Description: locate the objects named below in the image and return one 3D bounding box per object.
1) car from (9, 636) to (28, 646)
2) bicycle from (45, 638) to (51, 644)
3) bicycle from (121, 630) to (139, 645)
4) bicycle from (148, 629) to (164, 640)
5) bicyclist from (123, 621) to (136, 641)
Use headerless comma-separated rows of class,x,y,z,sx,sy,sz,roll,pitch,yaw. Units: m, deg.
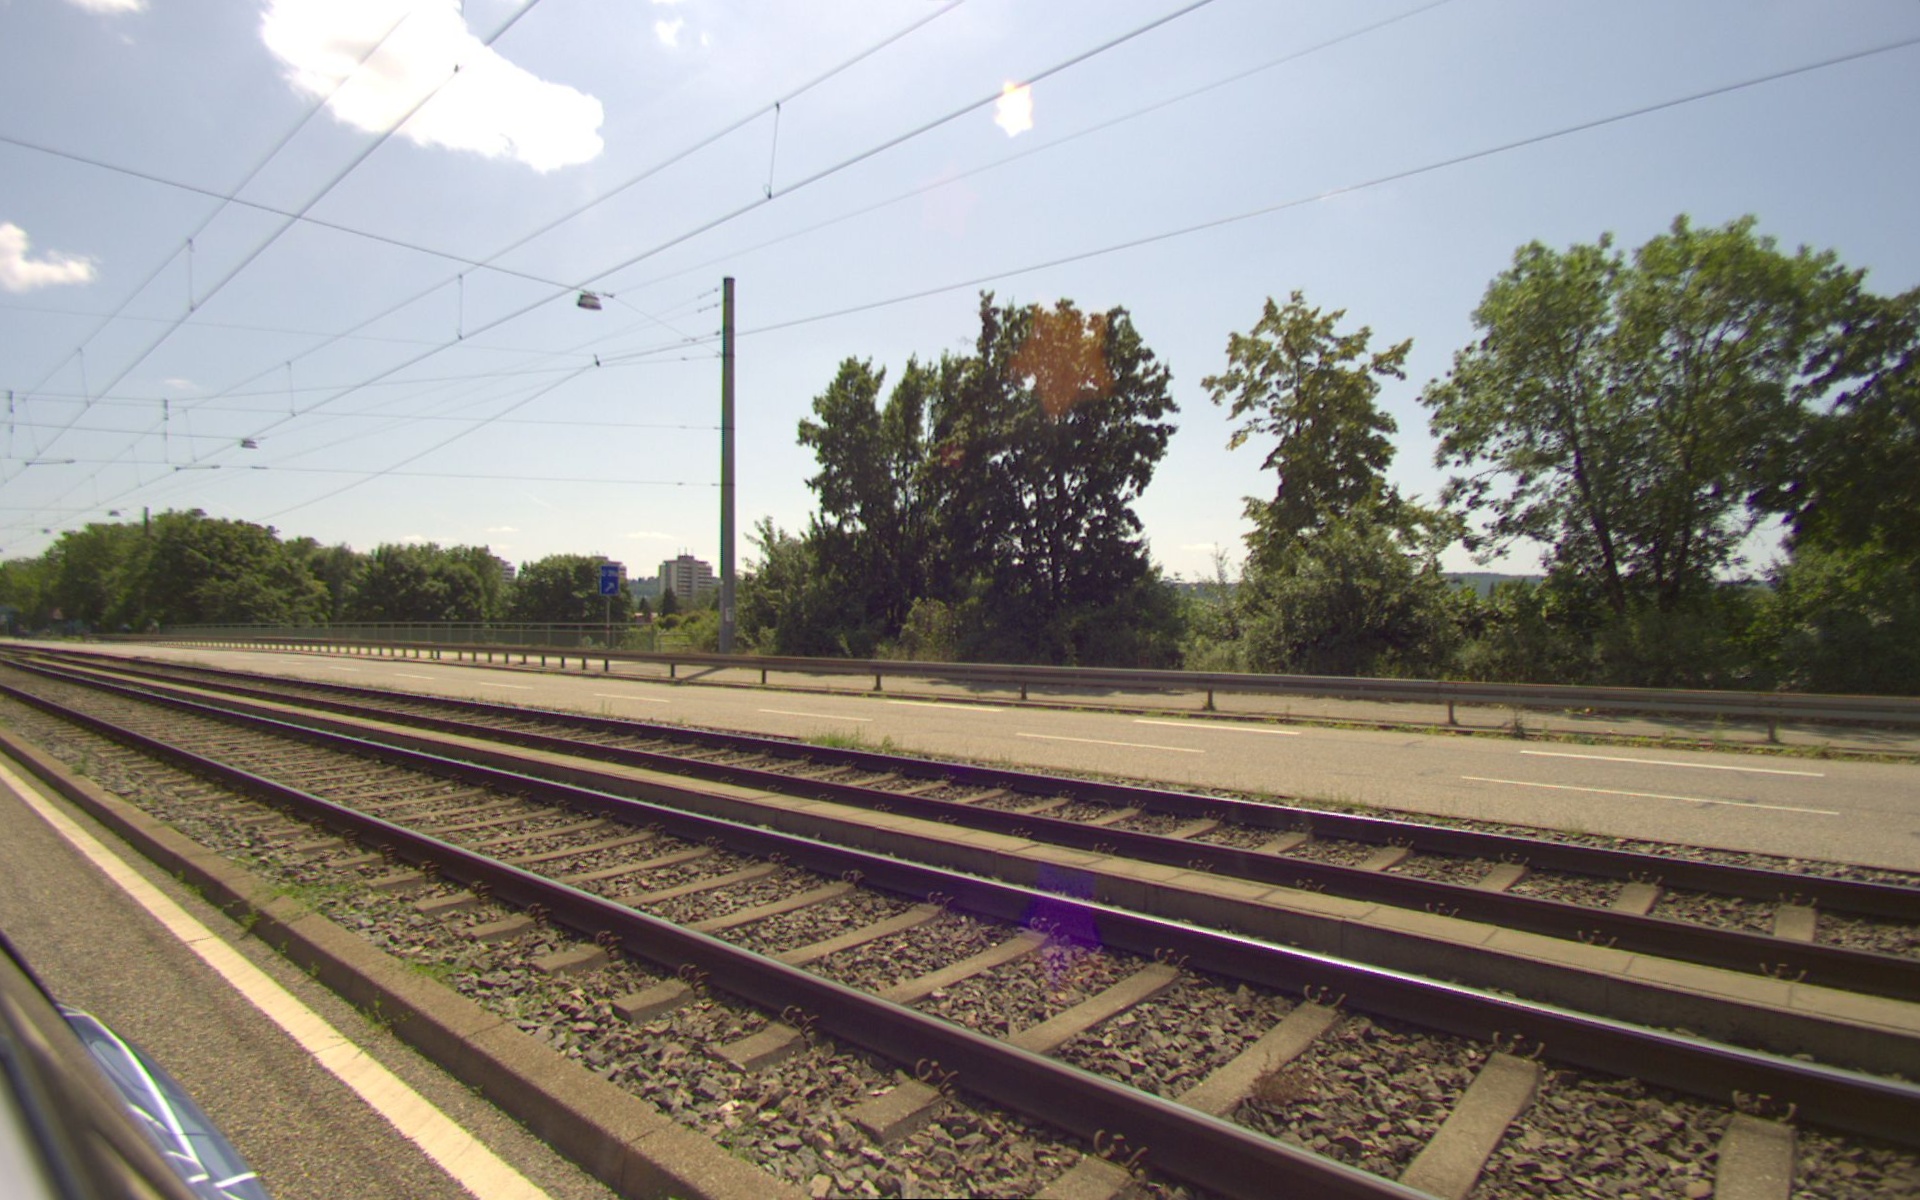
car,-135.040,5.839,145.170,3.927,1.357,1.546,-1,-3,42
bicycle,-139.575,6.334,154.876,0.579,0.825,2.070,-1,1,-43
bicycle,-70.464,3.179,85.902,2.061,1.194,0.848,-1,-1,41
bicycle,-62.029,2.670,78.077,2.034,0.849,0.517,-2,-1,40
bicyclist,-70.548,2.614,85.969,0.838,1.634,0.755,-1,-1,41
